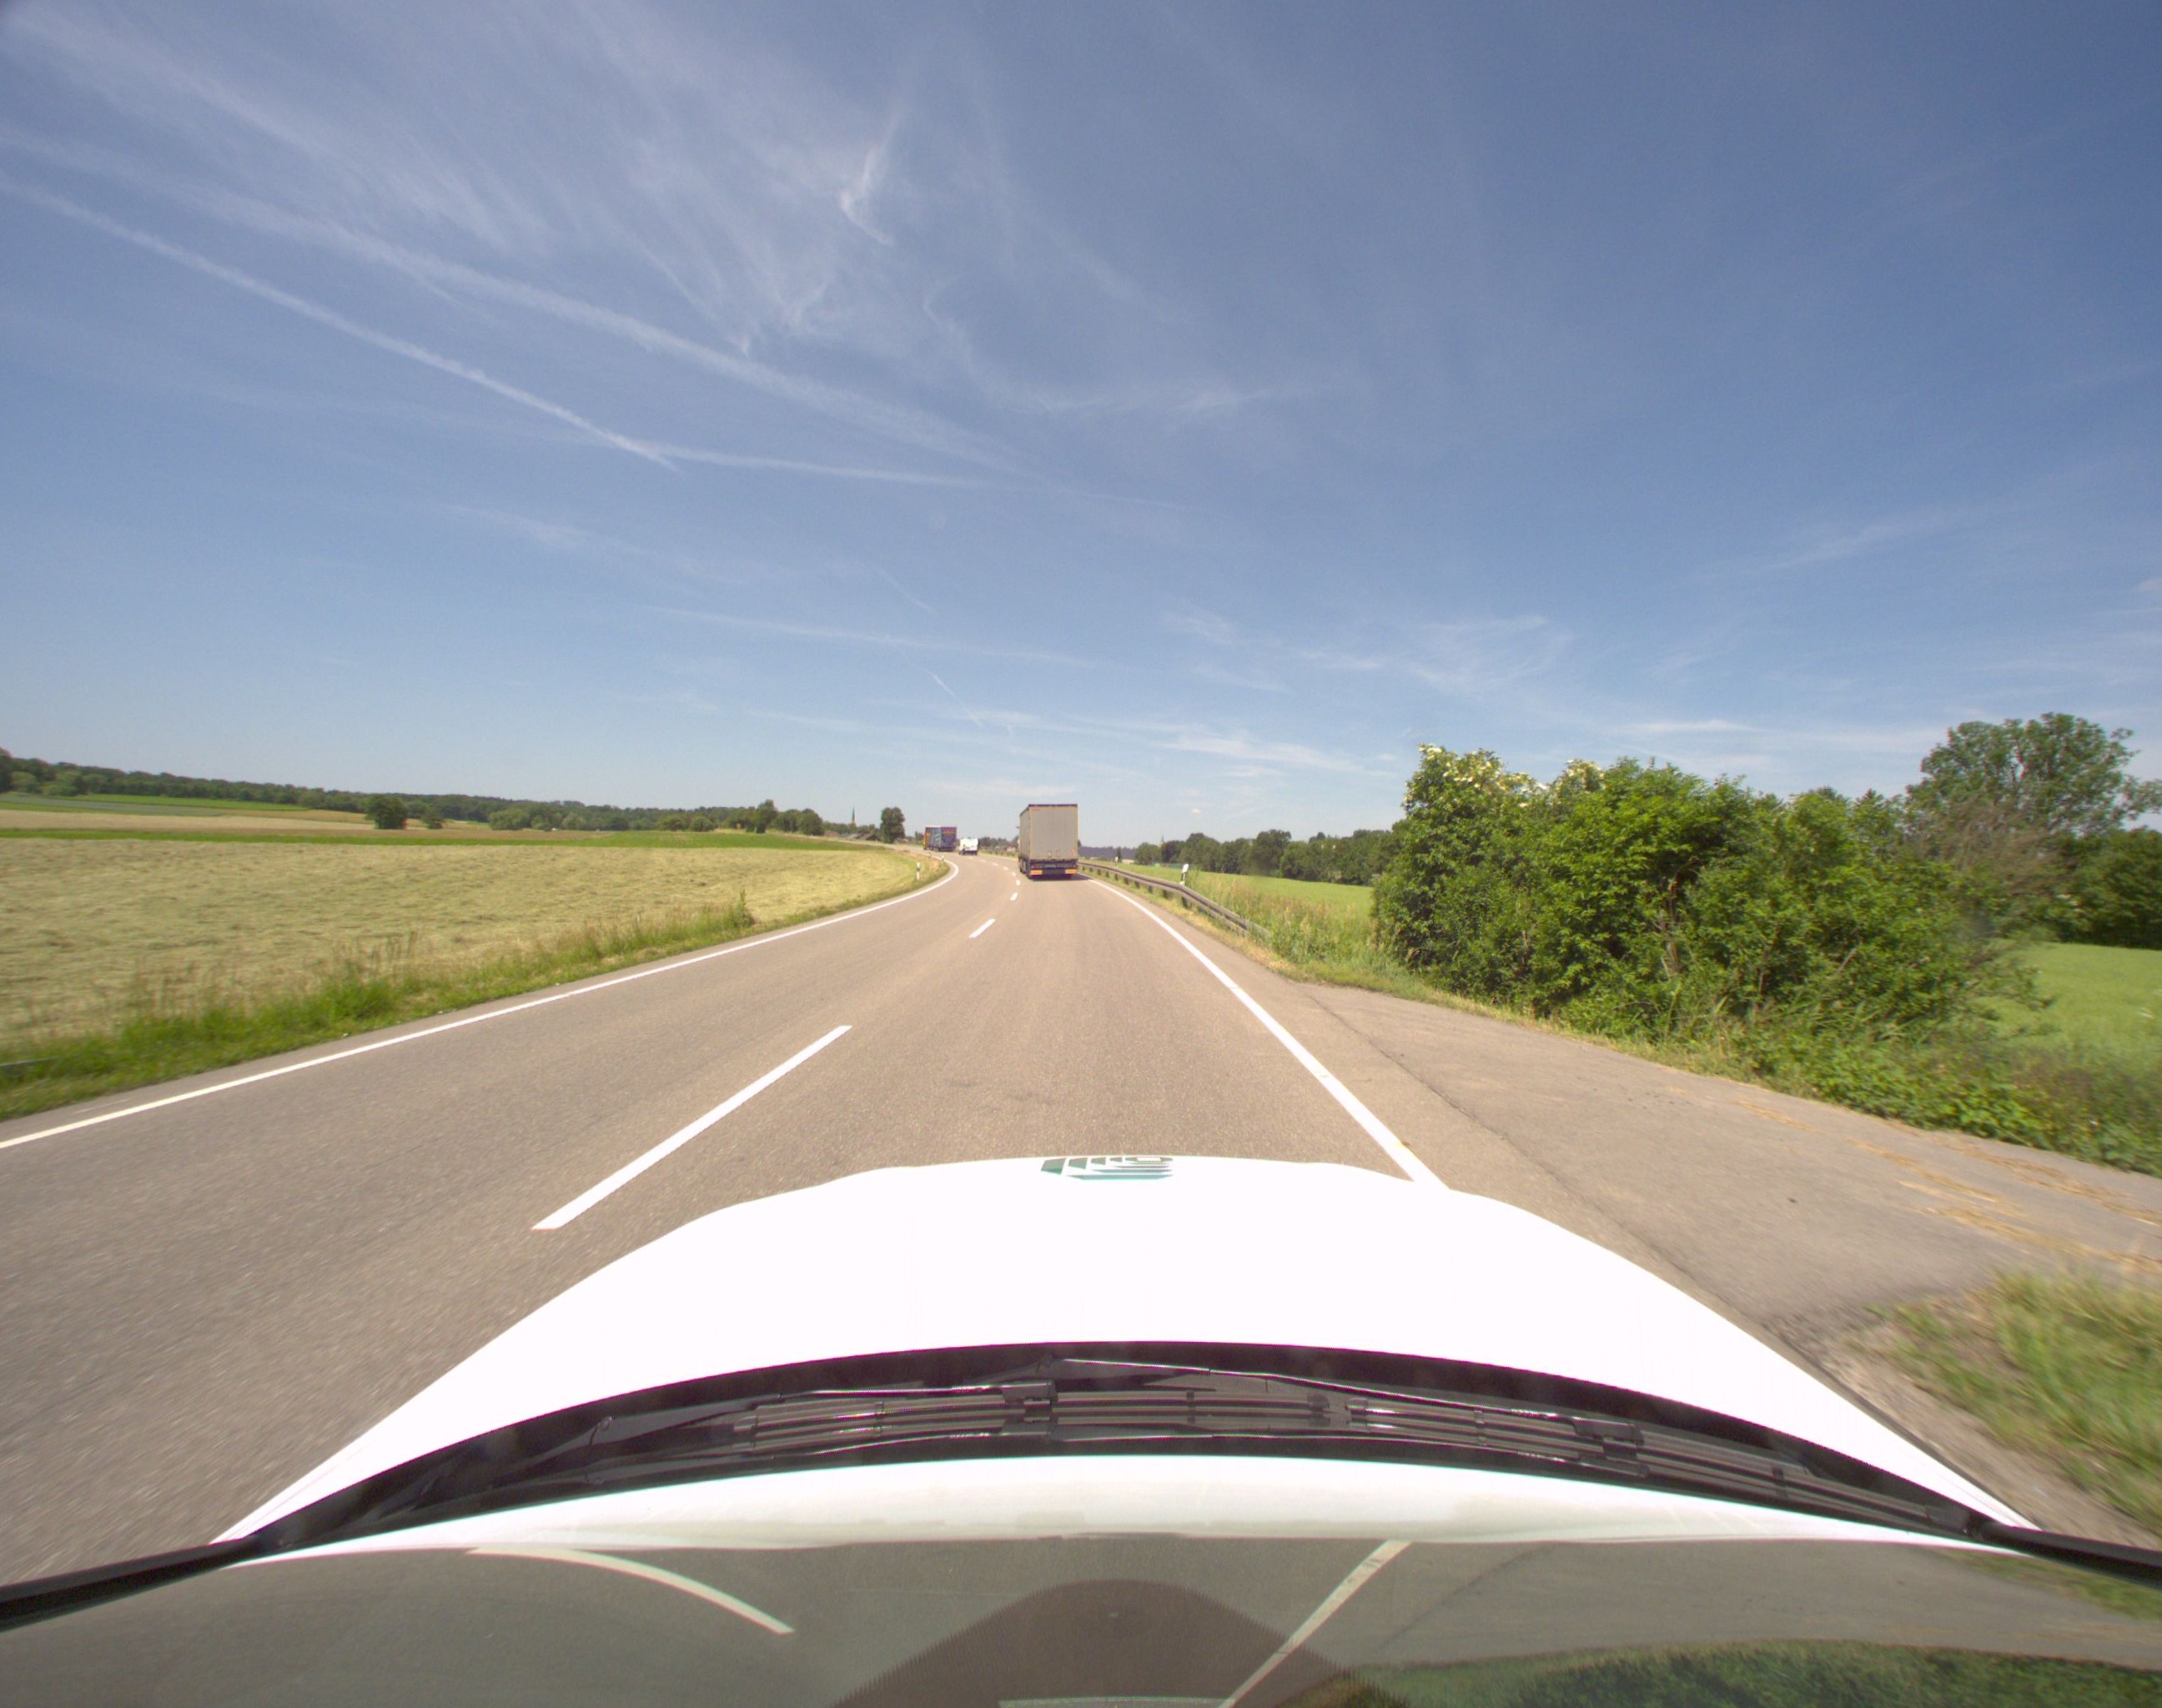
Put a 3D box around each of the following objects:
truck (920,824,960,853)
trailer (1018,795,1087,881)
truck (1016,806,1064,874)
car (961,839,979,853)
[{"bbox_3d":[-23.719,-2.520,135.918,3.560,4.392,18.004,2,0,-19],"label":"truck"},{"bbox_3d":[-1.982,-0.873,48.506,2.864,4.400,13.459,-1,0,-7],"label":"trailer"},{"bbox_3d":[-2.853,-0.918,55.496,2.857,4.400,5.058,-1,0,-7],"label":"truck"},{"bbox_3d":[-15.426,-1.058,113.151,1.731,1.873,3.973,1,-1,-20],"label":"car"}]
